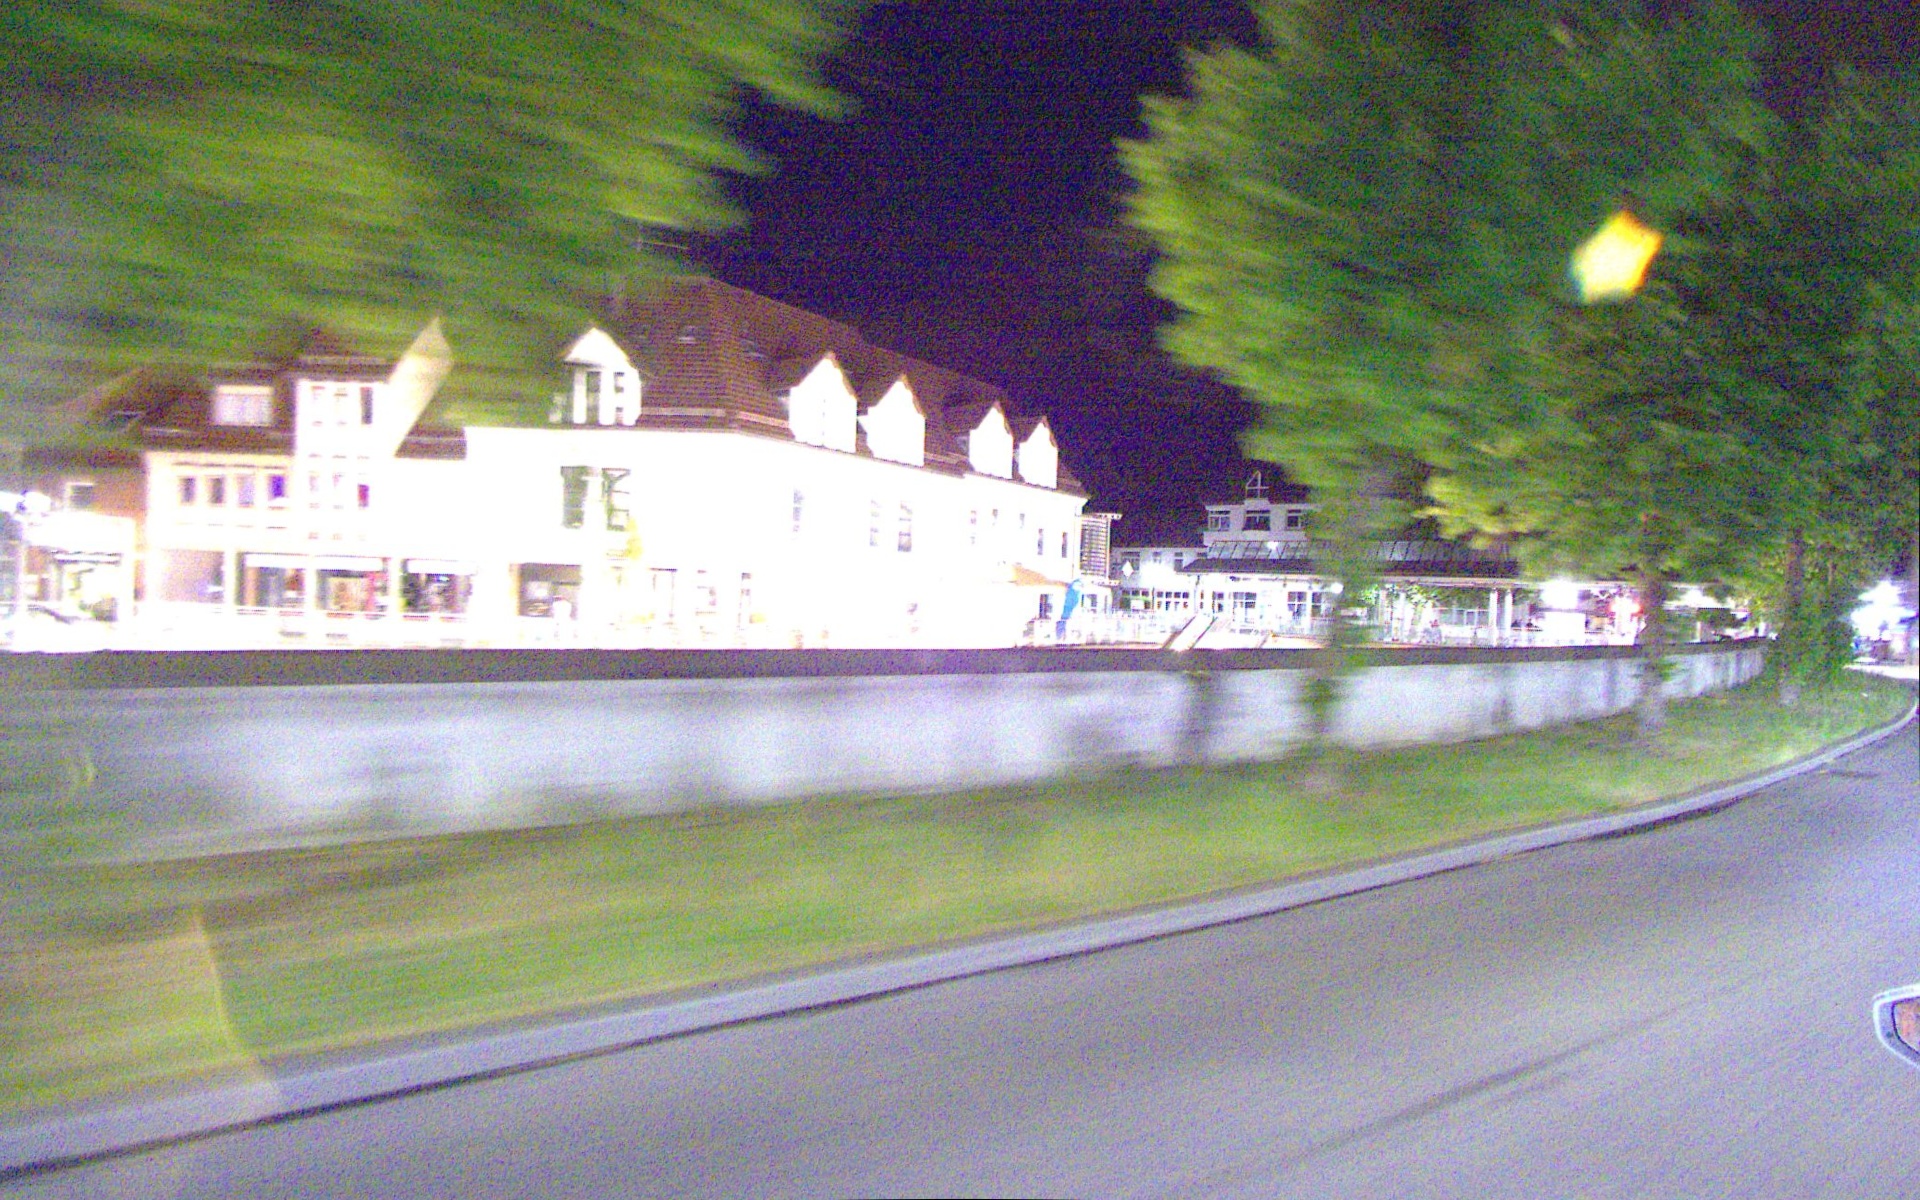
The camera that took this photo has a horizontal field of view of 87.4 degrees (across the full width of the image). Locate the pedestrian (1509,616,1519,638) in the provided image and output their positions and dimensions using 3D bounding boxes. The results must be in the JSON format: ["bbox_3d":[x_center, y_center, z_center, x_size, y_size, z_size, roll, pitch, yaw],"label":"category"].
[{"bbox_3d":[39.067,1.916,70.854,0.451,1.566,0.482,1,0,4],"label":"pedestrian"}]

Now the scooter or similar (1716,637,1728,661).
[{"bbox_3d":[38.328,2.450,50.526,0.424,1.150,1.001,1,0,33],"label":"scooter or similar"}]

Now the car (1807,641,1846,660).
[{"bbox_3d":[70.213,4.059,81.449,1.808,1.376,3.989,1,0,33],"label":"car"}]
